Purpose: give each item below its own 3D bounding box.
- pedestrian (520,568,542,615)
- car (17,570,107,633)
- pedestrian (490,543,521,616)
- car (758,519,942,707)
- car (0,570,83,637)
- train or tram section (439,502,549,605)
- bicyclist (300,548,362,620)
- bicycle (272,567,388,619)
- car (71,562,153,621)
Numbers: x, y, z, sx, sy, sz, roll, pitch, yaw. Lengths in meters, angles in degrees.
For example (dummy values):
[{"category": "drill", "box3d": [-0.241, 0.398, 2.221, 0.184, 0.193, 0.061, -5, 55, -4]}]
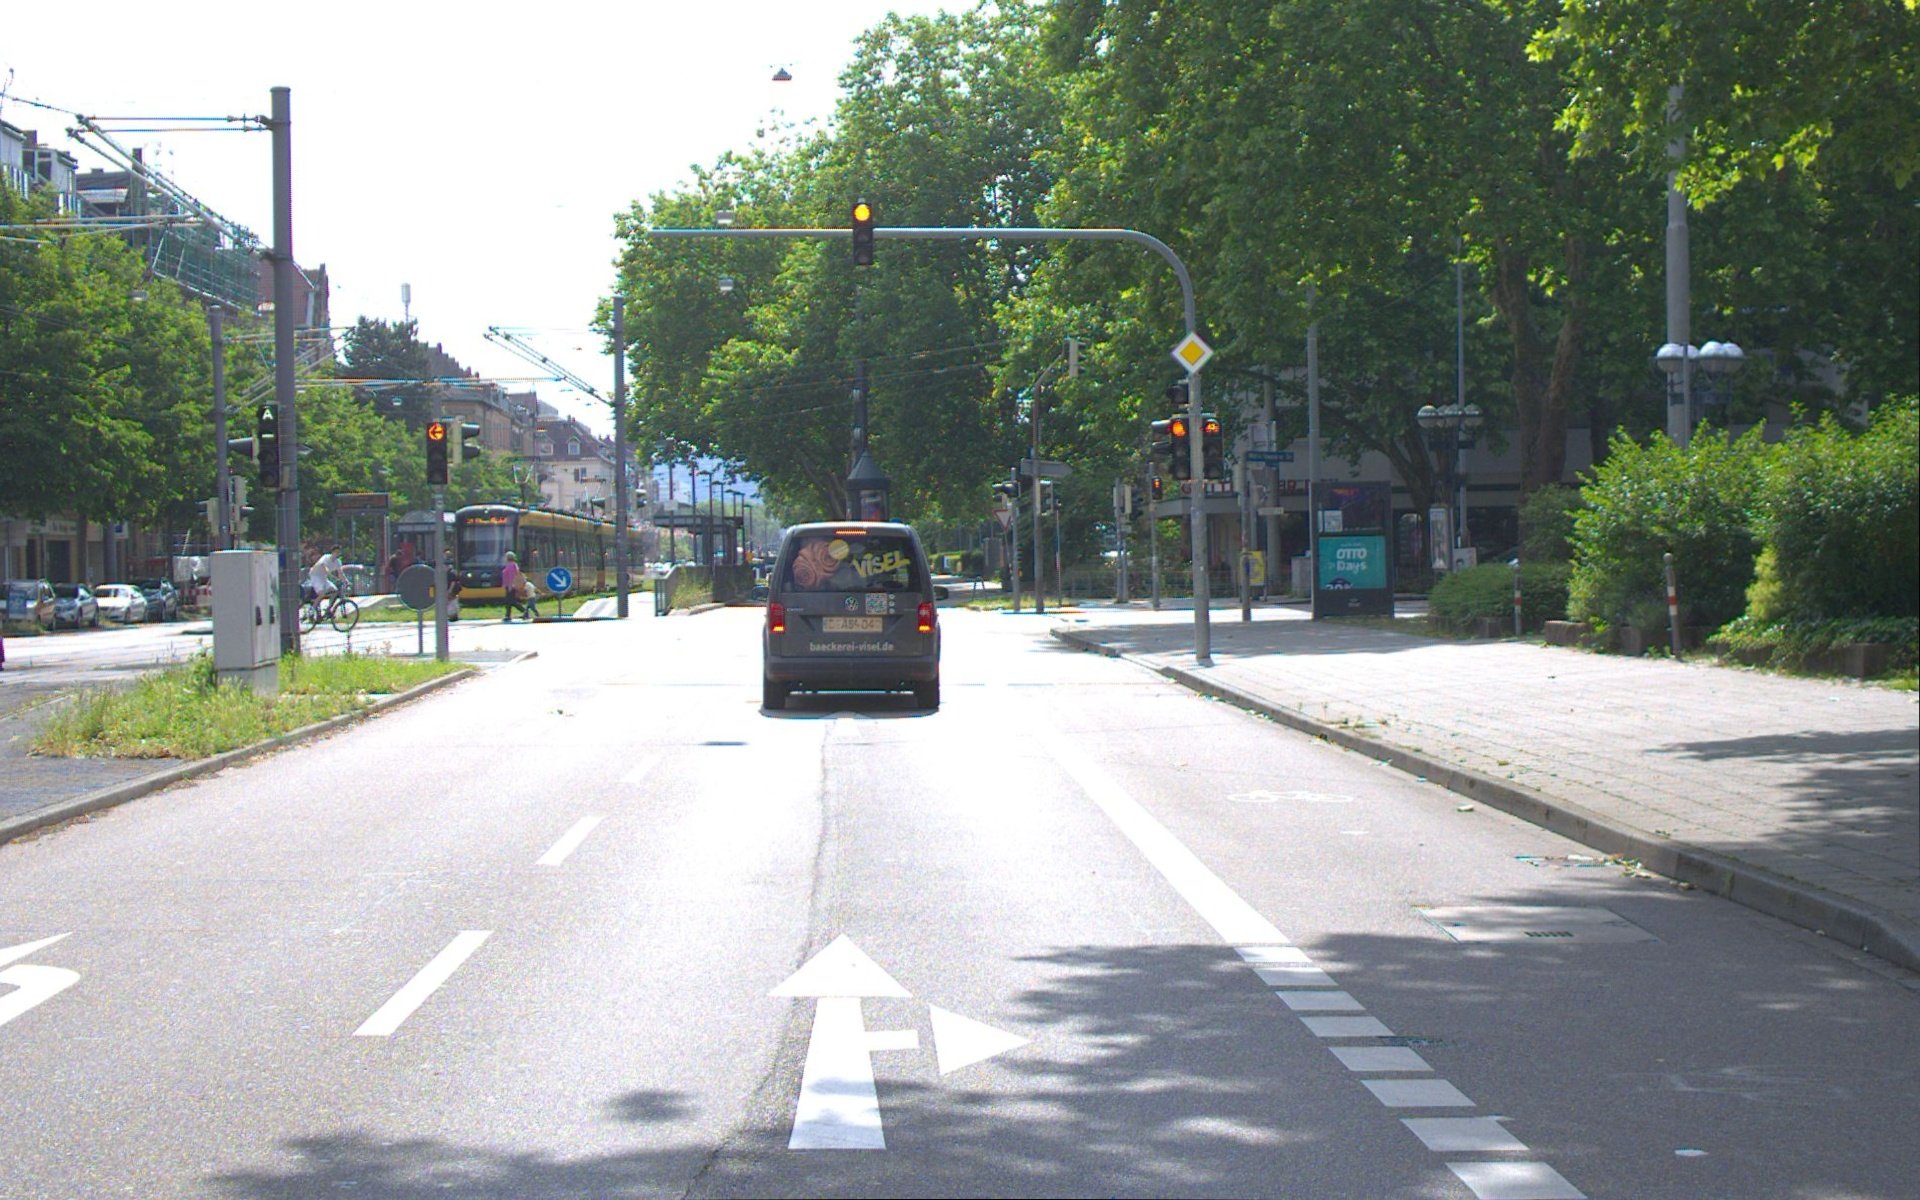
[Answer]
[{"category": "pedestrian", "box3d": [-10.574, -0.206, 84.698, 0.463, 1.140, 0.435, -1, 1, -1]}, {"category": "car", "box3d": [-29.929, 0.029, 114.695, 1.993, 2.007, 4.000, -1, 1, -2]}, {"category": "pedestrian", "box3d": [-11.131, -0.505, 84.184, 0.659, 1.778, 0.660, -1, 1, -1]}, {"category": "car", "box3d": [-1.095, 0.096, 34.625, 1.750, 1.802, 3.475, 0, 1, -1]}, {"category": "car", "box3d": [-29.332, 0.099, 109.138, 1.993, 2.007, 4.000, -1, 1, -2]}, {"category": "train or tram section", "box3d": [-16.016, -1.617, 118.926, 2.240, 3.320, 12.972, -1, 1, -1]}, {"category": "bicyclist", "box3d": [-13.437, -0.348, 73.436, 0.999, 1.506, 0.780, -1, 1, 23]}, {"category": "bicycle", "box3d": [-13.464, -0.149, 73.456, 2.304, 1.045, 0.896, -1, 1, 25]}, {"category": "car", "box3d": [-30.369, -0.326, 123.192, 1.993, 2.007, 4.000, -1, 1, -2]}]
